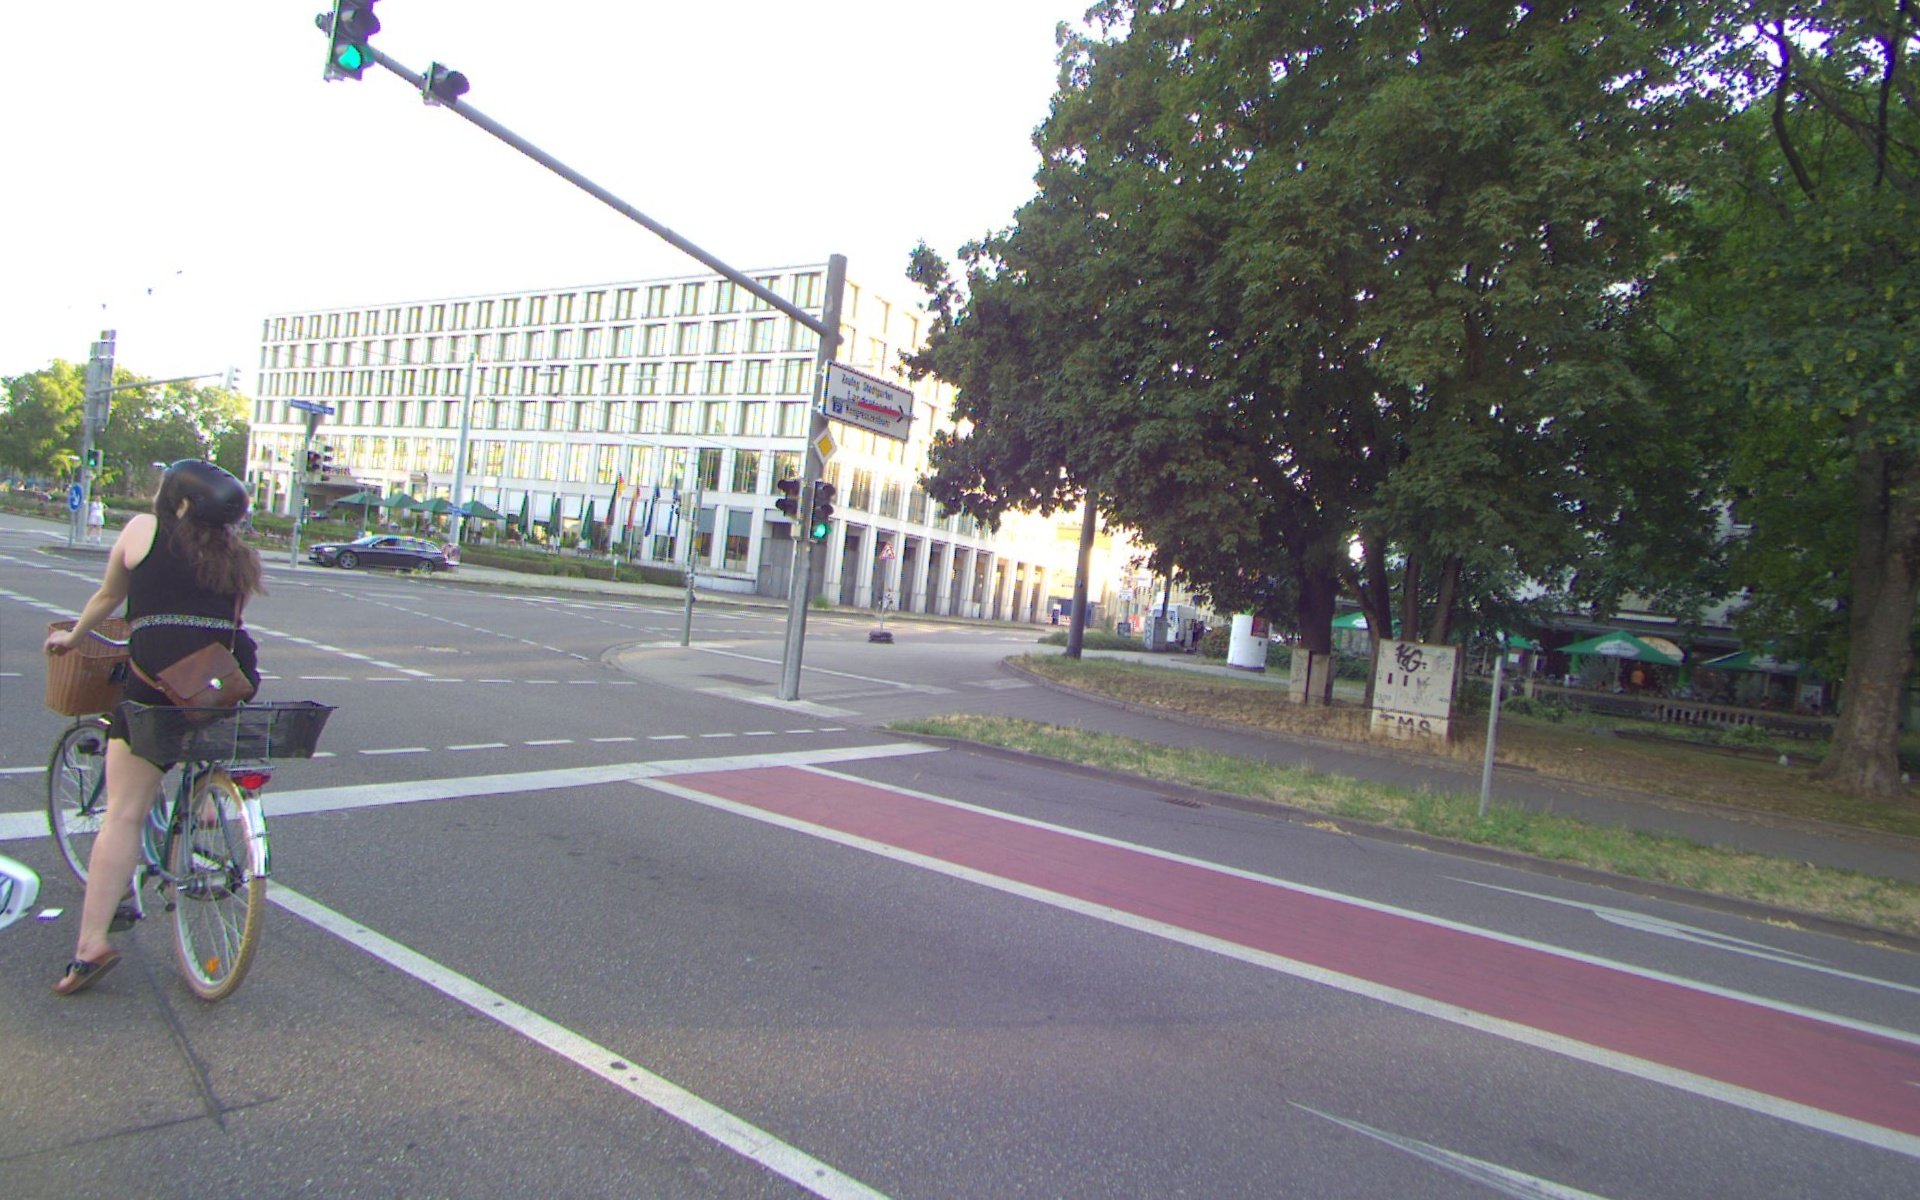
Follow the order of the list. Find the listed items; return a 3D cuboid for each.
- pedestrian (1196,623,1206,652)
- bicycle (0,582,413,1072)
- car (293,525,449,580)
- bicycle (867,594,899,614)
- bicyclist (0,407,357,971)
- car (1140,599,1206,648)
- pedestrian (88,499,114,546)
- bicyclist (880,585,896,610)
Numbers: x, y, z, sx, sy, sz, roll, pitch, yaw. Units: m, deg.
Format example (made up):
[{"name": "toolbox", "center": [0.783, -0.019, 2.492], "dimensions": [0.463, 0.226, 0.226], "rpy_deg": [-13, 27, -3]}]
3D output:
[{"name": "pedestrian", "center": [13.373, 2.088, 55.782], "dimensions": [0.302, 1.525, 0.336], "rpy_deg": [7, -1, 31]}, {"name": "bicycle", "center": [-2.794, 0.613, 3.450], "dimensions": [1.971, 1.146, 0.612], "rpy_deg": [7, -1, 32]}, {"name": "car", "center": [-23.001, -1.832, 39.457], "dimensions": [1.968, 1.534, 4.826], "rpy_deg": [7, 0, 34]}, {"name": "bicycle", "center": [-5.014, 0.267, 65.861], "dimensions": [0.592, 1.120, 2.775], "rpy_deg": [7, 0, 29]}, {"name": "bicyclist", "center": [-2.740, 0.238, 3.450], "dimensions": [0.982, 1.655, 0.600], "rpy_deg": [7, 0, 32]}, {"name": "car", "center": [11.766, 1.334, 55.359], "dimensions": [1.967, 2.318, 4.605], "rpy_deg": [6, 0, 31]}, {"name": "pedestrian", "center": [-29.975, -2.696, 35.093], "dimensions": [0.402, 1.559, 0.491], "rpy_deg": [7, 2, 31]}, {"name": "bicyclist", "center": [-4.748, -0.149, 66.275], "dimensions": [0.567, 1.556, 0.708], "rpy_deg": [7, 1, 29]}]
